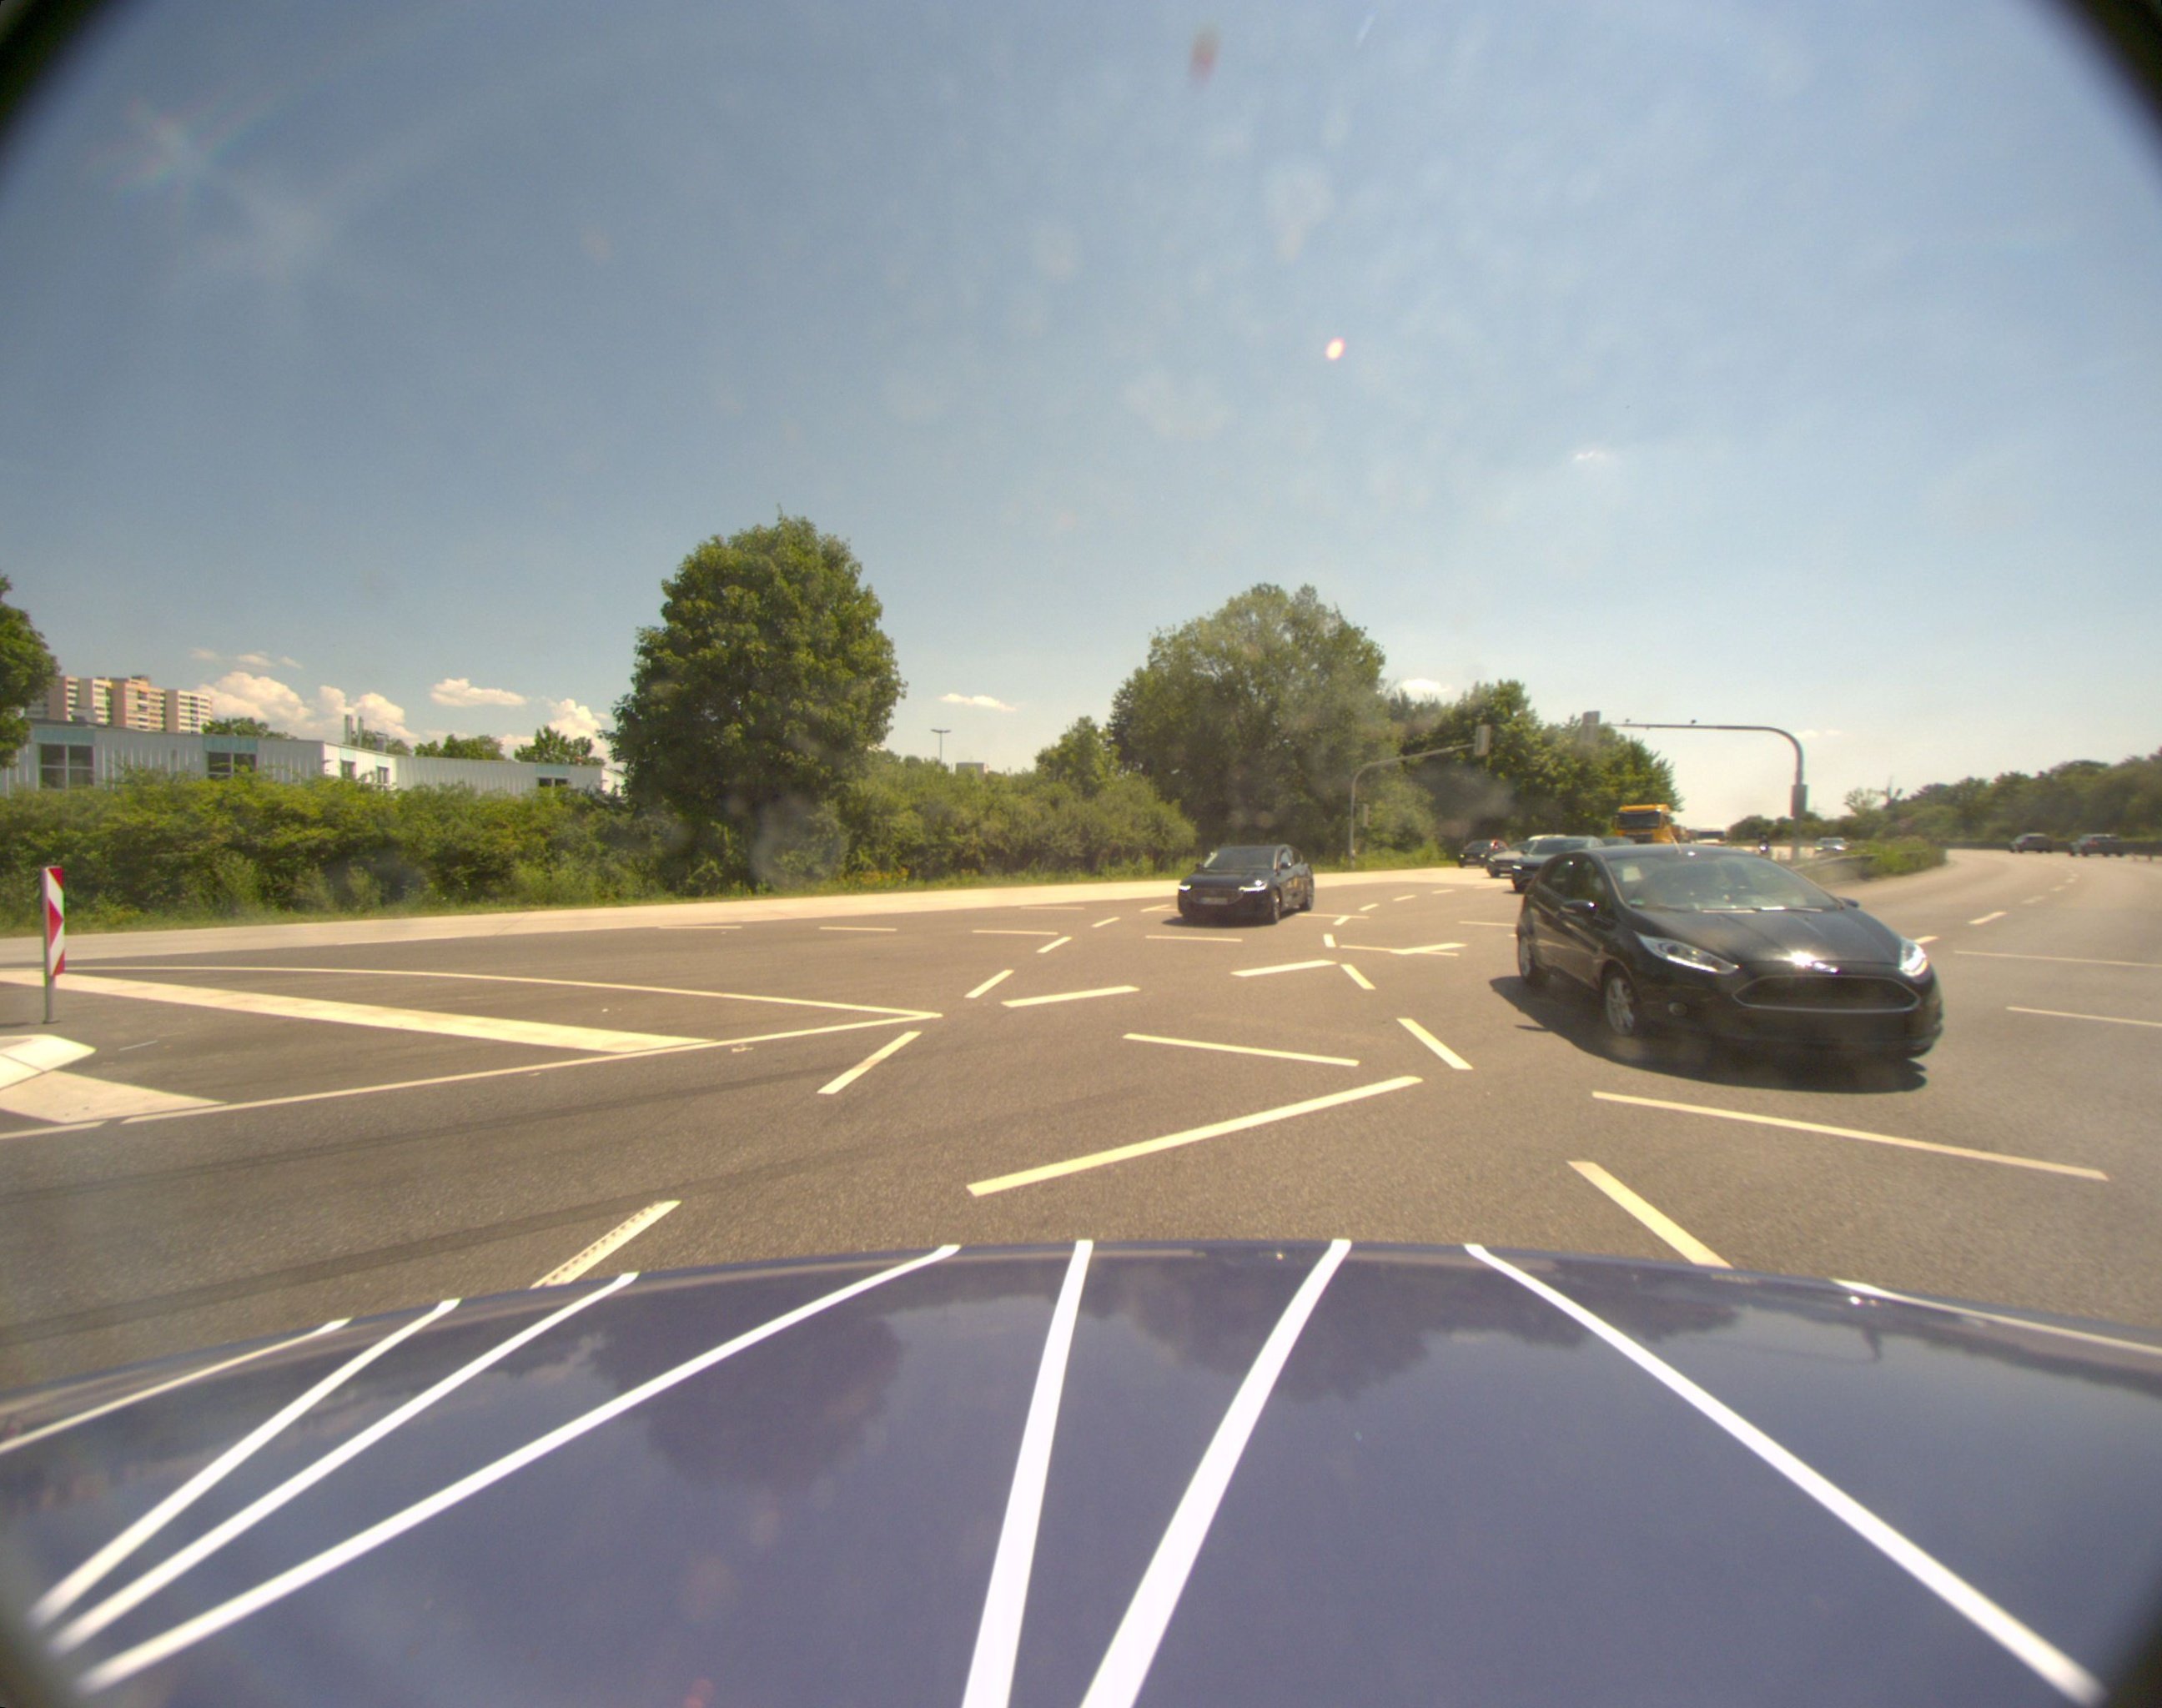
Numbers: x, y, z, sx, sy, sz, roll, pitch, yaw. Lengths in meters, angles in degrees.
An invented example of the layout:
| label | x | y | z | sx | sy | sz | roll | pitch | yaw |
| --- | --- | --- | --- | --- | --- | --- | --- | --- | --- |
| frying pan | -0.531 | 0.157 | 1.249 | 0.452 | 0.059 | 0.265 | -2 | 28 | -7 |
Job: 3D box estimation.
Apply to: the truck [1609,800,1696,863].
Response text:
| label | x | y | z | sx | sy | sz | roll | pitch | yaw |
| --- | --- | --- | --- | --- | --- | --- | --- | --- | --- |
| truck | 36.786 | -1.409 | 48.814 | 7.484 | 3.751 | 3.014 | -2 | 2 | -42 |

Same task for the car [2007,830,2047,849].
| label | x | y | z | sx | sy | sz | roll | pitch | yaw |
| --- | --- | --- | --- | --- | --- | --- | --- | --- | --- |
| car | 90.581 | -1.402 | 72.798 | 4.867 | 1.763 | 1.994 | -2 | 2 | -43 |

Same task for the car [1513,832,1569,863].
| label | x | y | z | sx | sy | sz | roll | pitch | yaw |
| --- | --- | --- | --- | --- | --- | --- | --- | --- | --- |
| car | 28.506 | -0.438 | 47.039 | 4.802 | 1.797 | 1.768 | -2 | 2 | -44 |

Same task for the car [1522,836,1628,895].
| label | x | y | z | sx | sy | sz | roll | pitch | yaw |
| --- | --- | --- | --- | --- | --- | --- | --- | --- | --- |
| car | 13.774 | 0.258 | 21.090 | 1.702 | 1.456 | 4.008 | 1 | 2 | 44 |

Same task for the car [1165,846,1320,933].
| label | x | y | z | sx | sy | sz | roll | pitch | yaw |
| --- | --- | --- | --- | --- | --- | --- | --- | --- | --- |
| car | 3.367 | 0.577 | 15.147 | 1.727 | 1.431 | 4.312 | 0 | 1 | 31 |

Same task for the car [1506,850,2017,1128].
| label | x | y | z | sx | sy | sz | roll | pitch | yaw |
| --- | --- | --- | --- | --- | --- | --- | --- | --- | --- |
| car | 4.980 | 0.750 | 6.376 | 1.625 | 1.476 | 4.004 | 0 | 1 | 16 |

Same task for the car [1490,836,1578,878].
| label | x | y | z | sx | sy | sz | roll | pitch | yaw |
| --- | --- | --- | --- | --- | --- | --- | --- | --- | --- |
| car | 17.545 | 0.083 | 29.376 | 4.008 | 1.456 | 1.886 | -2 | 2 | -43 |

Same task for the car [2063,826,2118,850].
| label | x | y | z | sx | sy | sz | roll | pitch | yaw |
| --- | --- | --- | --- | --- | --- | --- | --- | --- | --- |
| car | 75.515 | -1.227 | 56.883 | 4.666 | 1.683 | 1.994 | -2 | 2 | -42 |

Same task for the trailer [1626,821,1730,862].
| label | x | y | z | sx | sy | sz | roll | pitch | yaw |
| --- | --- | --- | --- | --- | --- | --- | --- | --- | --- |
| trailer | 43.054 | -0.945 | 54.428 | 16.389 | 2.578 | 3.028 | -1 | 1 | -42 |

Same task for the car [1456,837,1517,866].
| label | x | y | z | sx | sy | sz | roll | pitch | yaw |
| --- | --- | --- | --- | --- | --- | --- | --- | --- | --- |
| car | 22.442 | -0.146 | 42.016 | 3.658 | 1.501 | 1.768 | -2 | 2 | -41 |

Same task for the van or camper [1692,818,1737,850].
| label | x | y | z | sx | sy | sz | roll | pitch | yaw |
| --- | --- | --- | --- | --- | --- | --- | --- | --- | --- |
| van or camper | 53.141 | -1.662 | 63.701 | 5.919 | 2.559 | 2.063 | -2 | 2 | -42 |

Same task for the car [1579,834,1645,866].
| label | x | y | z | sx | sy | sz | roll | pitch | yaw |
| --- | --- | --- | --- | --- | --- | --- | --- | --- | --- |
| car | 29.833 | -0.253 | 42.617 | 4.656 | 1.630 | 1.784 | -2 | 2 | -38 |
